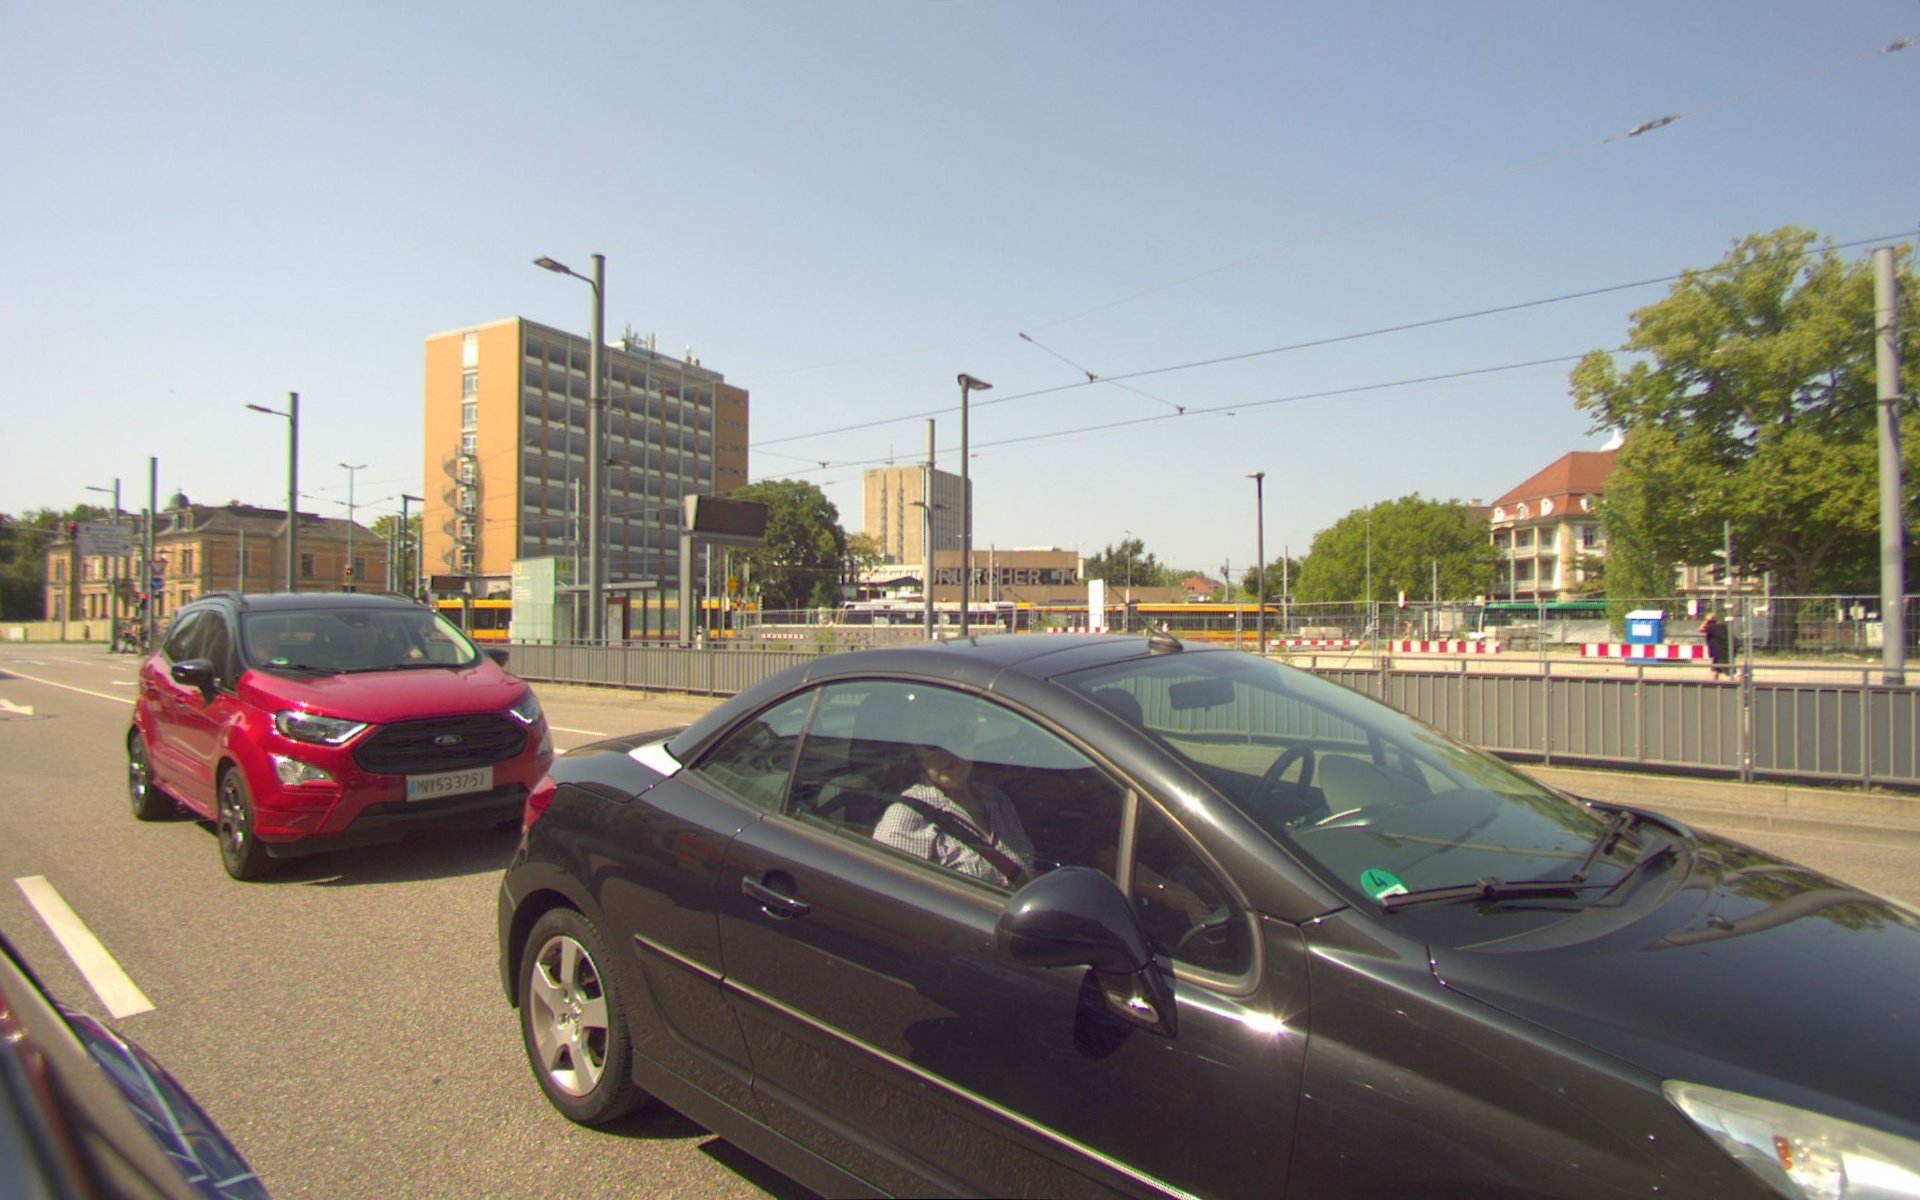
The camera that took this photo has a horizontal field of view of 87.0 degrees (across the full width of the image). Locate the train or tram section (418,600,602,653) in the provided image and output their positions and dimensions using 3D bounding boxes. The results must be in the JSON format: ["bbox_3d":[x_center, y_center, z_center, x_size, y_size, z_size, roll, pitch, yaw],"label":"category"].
[{"bbox_3d":[-32.549,1.960,73.495,12.178,3.794,2.002,0,-2,-5],"label":"train or tram section"}]

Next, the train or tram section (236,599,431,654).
[{"bbox_3d":[-44.696,1.914,72.440,12.178,3.794,2.002,0,-2,-5],"label":"train or tram section"}]

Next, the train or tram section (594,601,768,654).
[{"bbox_3d":[-20.429,2.048,74.545,12.178,3.794,2.002,0,-2,-5],"label":"train or tram section"}]

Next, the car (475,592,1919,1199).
[{"bbox_3d":[0.544,0.726,2.405,3.798,1.424,1.671,-1,-1,40],"label":"car"}]

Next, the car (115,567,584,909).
[{"bbox_3d":[-4.261,0.692,6.786,3.966,1.633,1.613,-1,-1,42],"label":"car"}]

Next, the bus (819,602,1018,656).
[{"bbox_3d":[-2.857,1.895,68.912,13.203,3.319,3.355,-1,0,-5],"label":"bus"}]

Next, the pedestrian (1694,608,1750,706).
[{"bbox_3d":[14.403,1.068,19.129,0.761,1.801,0.736,-2,-3,41],"label":"pedestrian"}]
